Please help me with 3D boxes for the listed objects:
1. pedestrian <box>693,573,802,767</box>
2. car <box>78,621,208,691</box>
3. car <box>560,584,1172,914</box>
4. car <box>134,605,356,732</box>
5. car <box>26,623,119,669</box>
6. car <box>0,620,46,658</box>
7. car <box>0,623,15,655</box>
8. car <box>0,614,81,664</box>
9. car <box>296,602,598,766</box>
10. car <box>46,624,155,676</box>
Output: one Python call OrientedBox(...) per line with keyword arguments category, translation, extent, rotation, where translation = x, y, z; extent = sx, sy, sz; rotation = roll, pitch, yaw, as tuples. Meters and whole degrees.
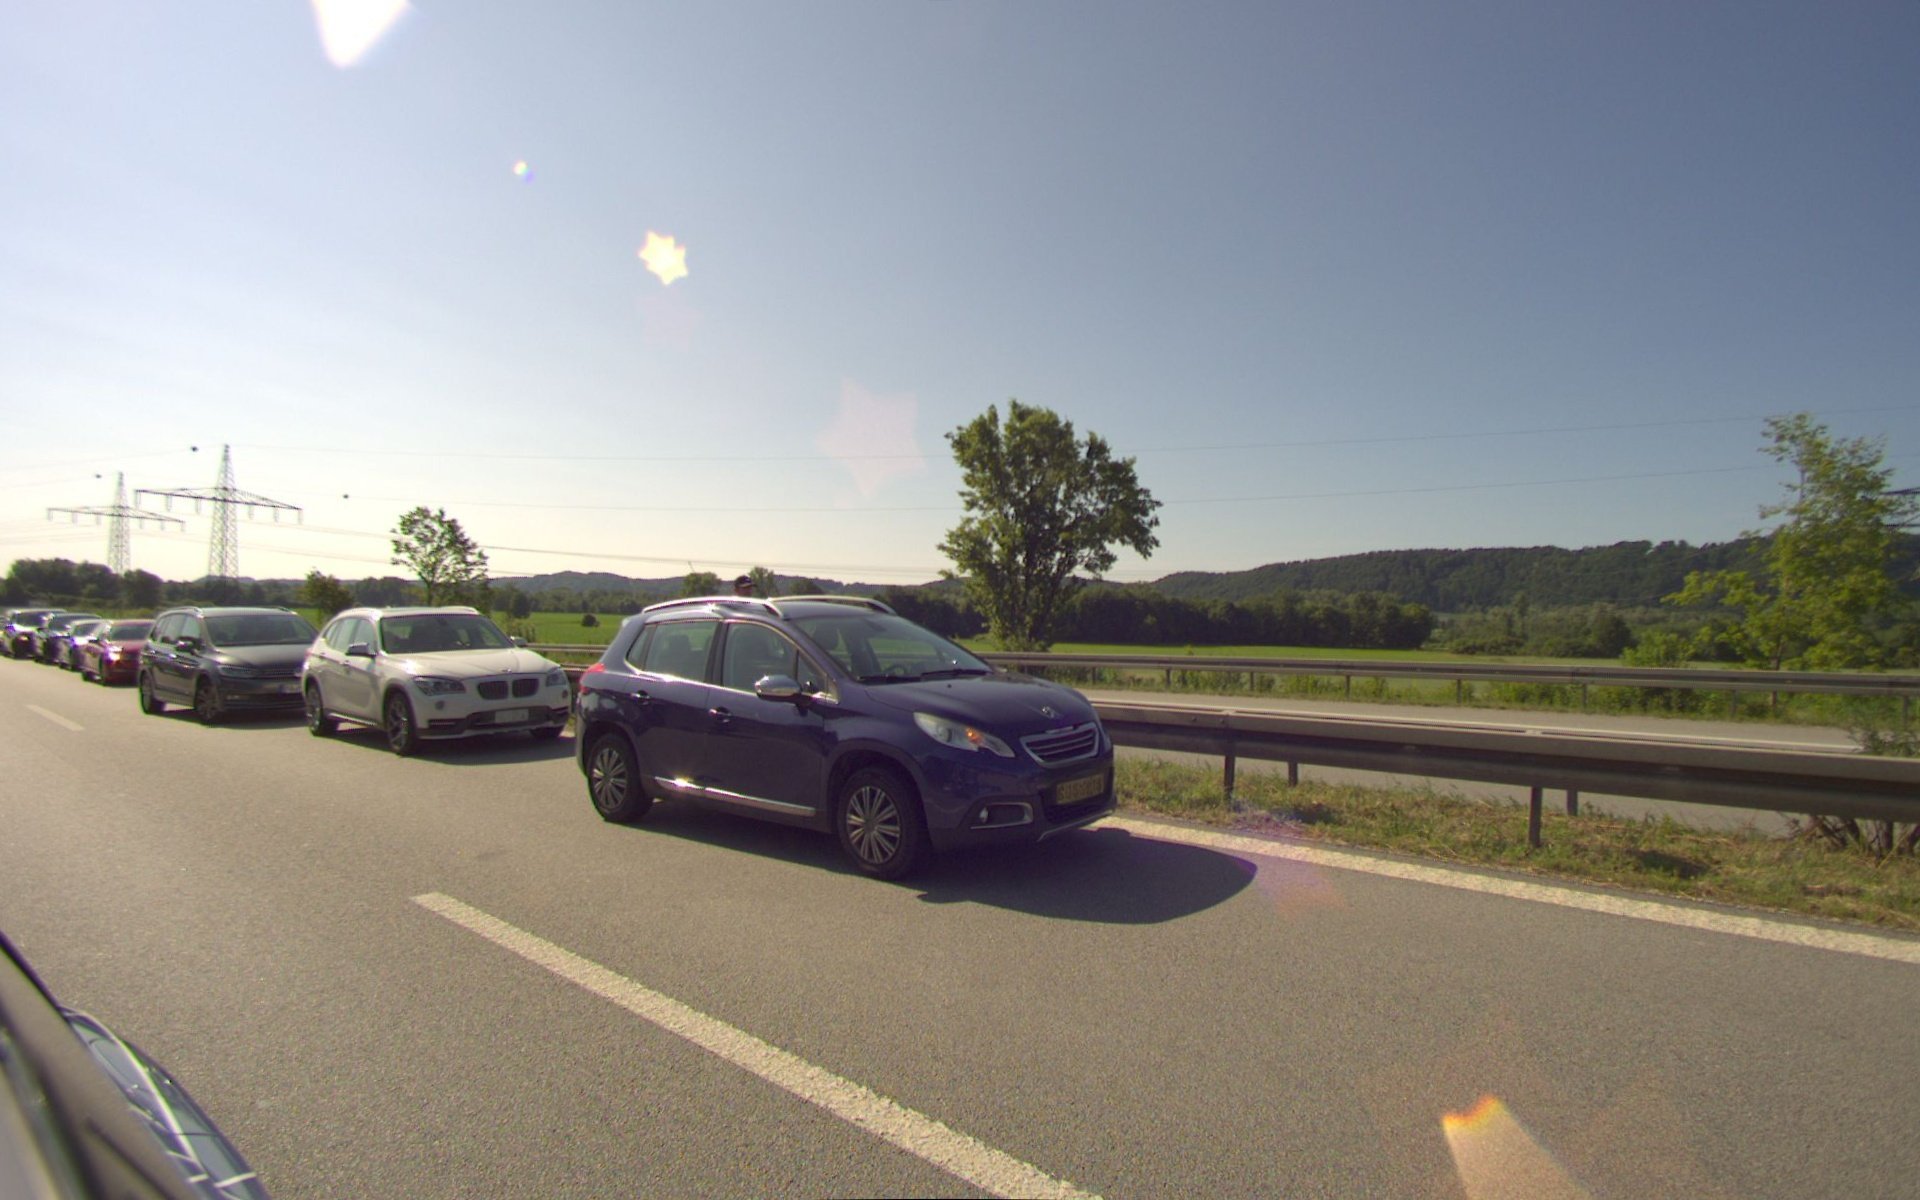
OrientedBox(category="pedestrian", translation=(-2.031, 0.646, 9.694), extent=(0.814, 1.764, 0.663), rotation=(-2, -2, 41))
OrientedBox(category="car", translation=(-19.069, 1.245, 23.557), extent=(4.117, 1.470, 1.795), rotation=(-1, -2, 43))
OrientedBox(category="car", translation=(-0.793, 0.723, 6.653), extent=(3.944, 1.546, 1.671), rotation=(-1, 0, 39))
OrientedBox(category="car", translation=(-10.770, 0.922, 15.142), extent=(4.115, 1.628, 1.796), rotation=(-1, -1, 41))
OrientedBox(category="car", translation=(-29.715, 1.494, 33.844), extent=(3.999, 1.466, 1.869), rotation=(-1, -2, 42))
OrientedBox(category="car", translation=(-40.408, 1.641, 42.941), extent=(3.998, 1.542, 1.973), rotation=(-1, -2, 41))
OrientedBox(category="car", translation=(-47.405, 1.893, 49.045), extent=(3.998, 1.542, 1.973), rotation=(-1, -2, 41))
OrientedBox(category="car", translation=(-34.929, 1.450, 38.319), extent=(4.198, 1.801, 1.877), rotation=(-1, -2, 41))
OrientedBox(category="car", translation=(-6.106, 0.852, 11.838), extent=(4.163, 1.586, 1.808), rotation=(-1, -1, 42))
OrientedBox(category="car", translation=(-25.253, 1.414, 29.698), extent=(3.998, 1.409, 1.870), rotation=(-1, -2, 41))
